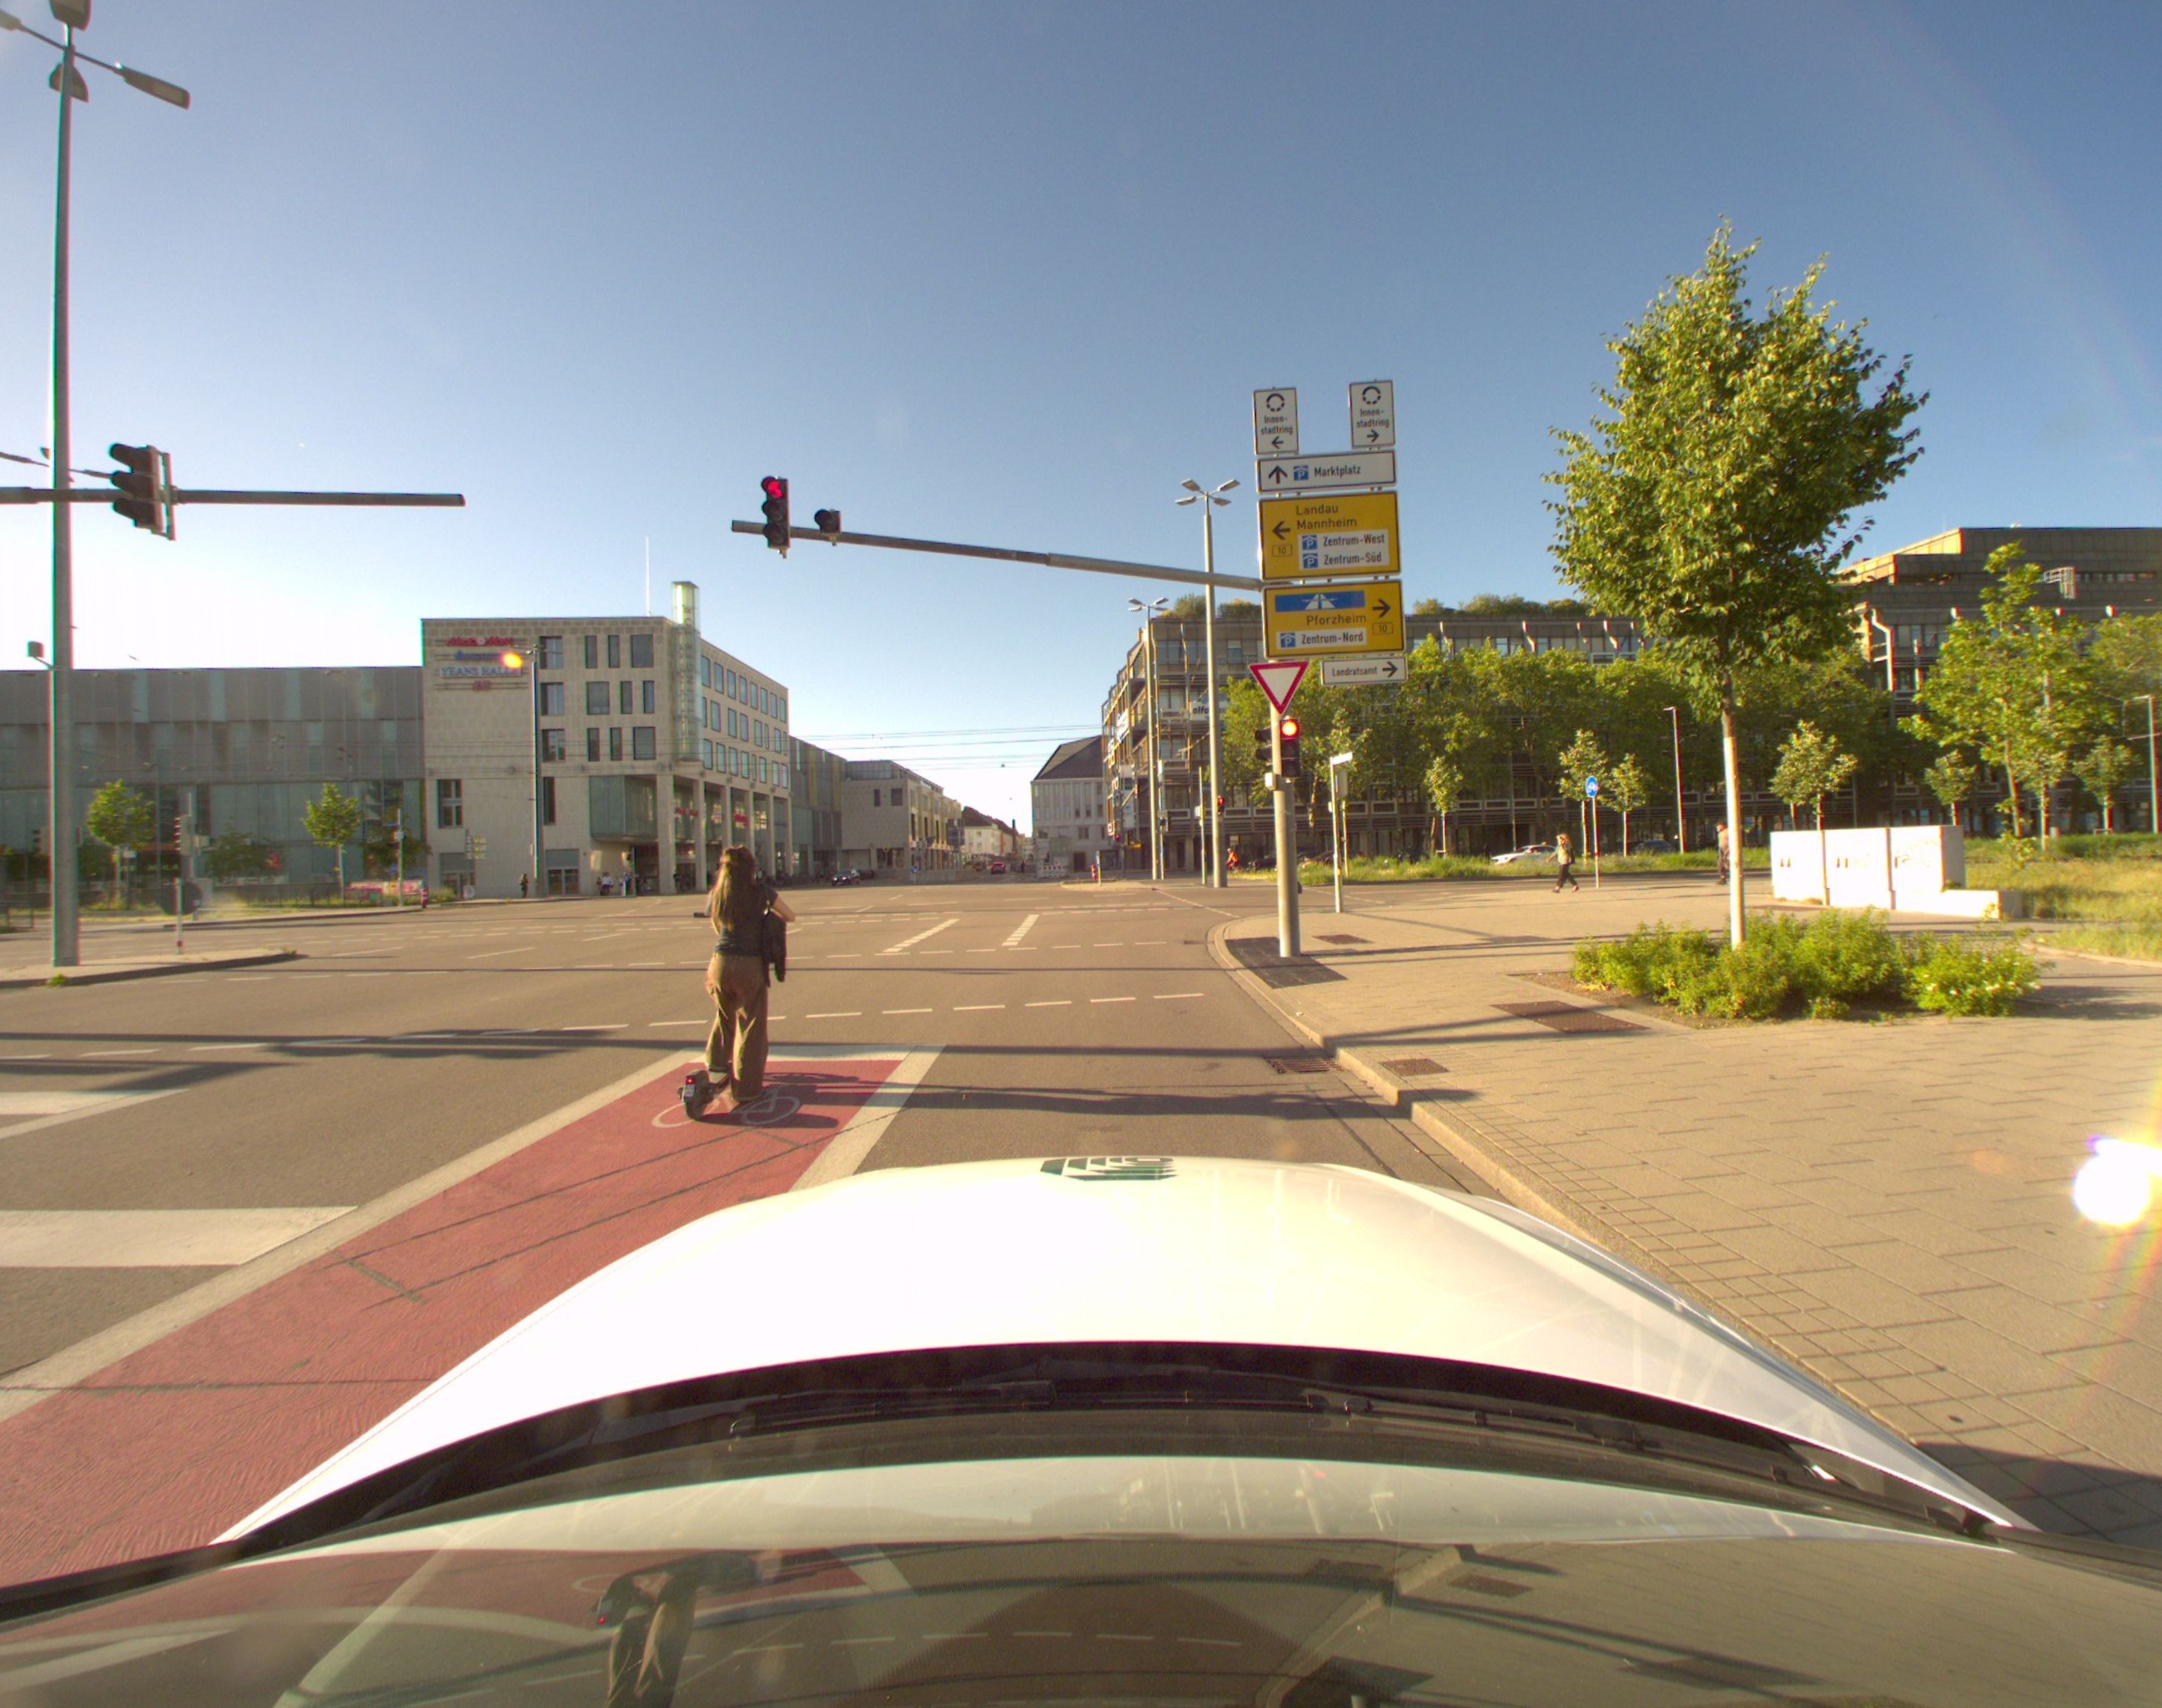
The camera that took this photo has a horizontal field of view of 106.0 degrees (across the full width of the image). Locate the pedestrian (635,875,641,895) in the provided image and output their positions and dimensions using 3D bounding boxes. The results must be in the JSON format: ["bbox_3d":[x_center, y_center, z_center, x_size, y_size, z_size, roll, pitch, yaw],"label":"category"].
[{"bbox_3d":[-32.924,2.302,60.512,0.388,1.426,0.498,-2,0,-28],"label":"pedestrian"}]

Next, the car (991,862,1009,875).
[{"bbox_3d":[-10.793,1.886,108.854,2.195,1.607,4.320,-2,0,-4],"label":"car"}]

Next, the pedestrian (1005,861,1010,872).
[{"bbox_3d":[-9.547,1.675,105.658,0.608,1.411,0.569,-2,0,-5],"label":"pedestrian"}]

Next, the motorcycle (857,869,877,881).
[{"bbox_3d":[-25.971,2.537,98.859,2.269,1.318,0.719,-2,0,-4],"label":"motorcycle"}]

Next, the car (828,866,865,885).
[{"bbox_3d":[-20.719,1.886,72.103,1.986,1.486,4.002,-2,0,2],"label":"car"}]

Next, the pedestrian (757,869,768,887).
[{"bbox_3d":[-30.573,2.313,78.146,0.784,1.642,0.693,-2,0,-9],"label":"pedestrian"}]

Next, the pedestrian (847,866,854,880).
[{"bbox_3d":[-27.944,2.314,98.698,0.694,1.642,0.695,-2,0,-17],"label":"pedestrian"}]

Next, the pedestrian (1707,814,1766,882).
[{"bbox_3d":[17.321,-0.150,21.541,0.694,1.728,0.939,-2,0,-12],"label":"pedestrian"}]

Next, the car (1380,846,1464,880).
[{"bbox_3d":[21.404,0.563,51.240,4.435,2.014,1.998,0,-1,-4],"label":"car"}]

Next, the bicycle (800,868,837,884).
[{"bbox_3d":[-27.550,2.292,85.575,3.491,1.527,0.984,-2,0,-10],"label":"bicycle"}]

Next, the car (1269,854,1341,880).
[{"bbox_3d":[13.850,0.783,50.468,3.976,1.508,1.867,-1,0,-2],"label":"car"}]

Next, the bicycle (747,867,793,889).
[{"bbox_3d":[-26.910,2.070,70.457,3.488,1.696,1.114,-2,0,-7],"label":"bicycle"}]

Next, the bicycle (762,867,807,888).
[{"bbox_3d":[-26.146,2.070,71.948,3.488,1.696,1.114,-2,0,-7],"label":"bicycle"}]

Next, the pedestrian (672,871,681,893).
[{"bbox_3d":[-30.166,2.088,60.713,0.544,1.642,0.545,-2,0,-31],"label":"pedestrian"}]

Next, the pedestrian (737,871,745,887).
[{"bbox_3d":[-33.318,2.458,79.749,0.480,1.585,0.598,-2,0,-3],"label":"pedestrian"}]

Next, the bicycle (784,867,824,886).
[{"bbox_3d":[-27.251,2.235,80.156,3.491,1.696,0.984,-2,0,-10],"label":"bicycle"}]

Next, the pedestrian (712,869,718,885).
[{"bbox_3d":[-33.923,2.159,75.451,0.385,1.439,0.367,-2,0,-3],"label":"pedestrian"}]

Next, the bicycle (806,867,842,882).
[{"bbox_3d":[-27.925,2.213,88.572,3.491,1.527,0.984,-2,0,-10],"label":"bicycle"}]

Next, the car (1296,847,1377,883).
[{"bbox_3d":[14.451,0.620,46.202,3.975,2.014,1.999,0,-1,-1],"label":"car"}]

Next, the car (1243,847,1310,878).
[{"bbox_3d":[12.838,0.561,53.617,3.975,2.014,1.999,0,-1,-1],"label":"car"}]

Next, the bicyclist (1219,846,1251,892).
[{"bbox_3d":[8.884,0.856,47.064,1.566,2.580,0.929,-2,0,-7],"label":"bicyclist"}]

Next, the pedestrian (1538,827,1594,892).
[{"bbox_3d":[12.801,0.142,21.512,0.801,1.630,0.939,-2,0,-12],"label":"pedestrian"}]

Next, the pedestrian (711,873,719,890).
[{"bbox_3d":[-32.198,2.421,71.648,0.480,1.510,0.513,-2,0,-3],"label":"pedestrian"}]

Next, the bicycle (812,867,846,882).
[{"bbox_3d":[-27.932,2.251,90.349,3.491,1.527,0.984,-2,0,-10],"label":"bicycle"}]

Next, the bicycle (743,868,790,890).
[{"bbox_3d":[-26.733,2.097,69.287,3.488,1.696,1.114,-2,0,-7],"label":"bicycle"}]

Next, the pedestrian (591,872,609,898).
[{"bbox_3d":[-33.972,2.202,57.553,0.755,1.798,0.736,-2,0,-3],"label":"pedestrian"}]

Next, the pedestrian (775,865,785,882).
[{"bbox_3d":[-29.886,1.920,80.883,0.652,1.642,0.693,-2,0,-7],"label":"pedestrian"}]

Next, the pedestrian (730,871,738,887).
[{"bbox_3d":[-33.844,2.445,79.394,0.480,1.585,0.598,-2,0,-3],"label":"pedestrian"}]

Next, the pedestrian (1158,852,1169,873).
[{"bbox_3d":[6.656,0.658,65.530,0.728,1.658,0.649,-2,0,-5],"label":"pedestrian"}]

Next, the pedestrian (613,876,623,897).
[{"bbox_3d":[-34.228,2.379,60.206,0.421,1.527,0.456,-2,0,-6],"label":"pedestrian"}]

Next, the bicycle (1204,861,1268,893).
[{"bbox_3d":[8.925,1.316,47.060,3.488,1.659,0.929,-2,0,-7],"label":"bicycle"}]

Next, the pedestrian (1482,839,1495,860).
[{"bbox_3d":[33.071,-0.355,66.114,0.662,1.658,0.739,-2,0,-5],"label":"pedestrian"}]

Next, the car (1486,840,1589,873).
[{"bbox_3d":[28.892,0.146,51.647,5.424,2.014,2.097,0,-1,-1],"label":"car"}]

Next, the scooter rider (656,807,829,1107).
[{"bbox_3d":[-2.144,0.615,5.259,0.726,1.775,0.811,-1,0,1],"label":"scooter rider"}]

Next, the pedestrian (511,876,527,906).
[{"bbox_3d":[-32.558,2.148,47.214,0.525,1.694,0.546,-2,0,-8],"label":"pedestrian"}]

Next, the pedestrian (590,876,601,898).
[{"bbox_3d":[-35.382,2.407,59.333,0.420,1.565,0.457,-2,0,2],"label":"pedestrian"}]

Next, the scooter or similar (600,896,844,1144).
[{"bbox_3d":[-2.129,0.914,5.109,0.725,1.202,1.665,-1,0,2],"label":"scooter or similar"}]

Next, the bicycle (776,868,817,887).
[{"bbox_3d":[-26.858,2.200,76.851,3.491,1.696,0.984,-2,0,-10],"label":"bicycle"}]

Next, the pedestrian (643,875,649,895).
[{"bbox_3d":[-32.476,2.311,60.789,0.388,1.412,0.434,-2,0,-29],"label":"pedestrian"}]

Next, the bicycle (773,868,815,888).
[{"bbox_3d":[-26.682,2.181,75.755,3.491,1.696,0.984,-2,0,-10],"label":"bicycle"}]

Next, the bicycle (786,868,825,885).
[{"bbox_3d":[-27.412,2.227,81.153,3.491,1.527,0.984,-2,0,-10],"label":"bicycle"}]

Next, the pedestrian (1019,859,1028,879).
[{"bbox_3d":[-4.819,1.266,67.878,0.661,1.658,0.755,-2,0,-1],"label":"pedestrian"}]

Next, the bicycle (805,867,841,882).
[{"bbox_3d":[-27.656,2.213,87.443,3.491,1.527,0.984,-2,0,-10],"label":"bicycle"}]

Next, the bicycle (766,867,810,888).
[{"bbox_3d":[-26.322,2.116,73.168,3.488,1.696,1.114,-2,0,-7],"label":"bicycle"}]

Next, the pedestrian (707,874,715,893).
[{"bbox_3d":[-32.283,2.584,71.053,0.480,1.585,0.513,-2,0,-3],"label":"pedestrian"}]

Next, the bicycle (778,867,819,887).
[{"bbox_3d":[-27.046,2.211,78.060,3.491,1.696,0.984,-2,0,-10],"label":"bicycle"}]

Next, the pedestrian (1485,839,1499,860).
[{"bbox_3d":[32.900,-0.361,65.262,0.662,1.658,0.739,-2,0,-5],"label":"pedestrian"}]
